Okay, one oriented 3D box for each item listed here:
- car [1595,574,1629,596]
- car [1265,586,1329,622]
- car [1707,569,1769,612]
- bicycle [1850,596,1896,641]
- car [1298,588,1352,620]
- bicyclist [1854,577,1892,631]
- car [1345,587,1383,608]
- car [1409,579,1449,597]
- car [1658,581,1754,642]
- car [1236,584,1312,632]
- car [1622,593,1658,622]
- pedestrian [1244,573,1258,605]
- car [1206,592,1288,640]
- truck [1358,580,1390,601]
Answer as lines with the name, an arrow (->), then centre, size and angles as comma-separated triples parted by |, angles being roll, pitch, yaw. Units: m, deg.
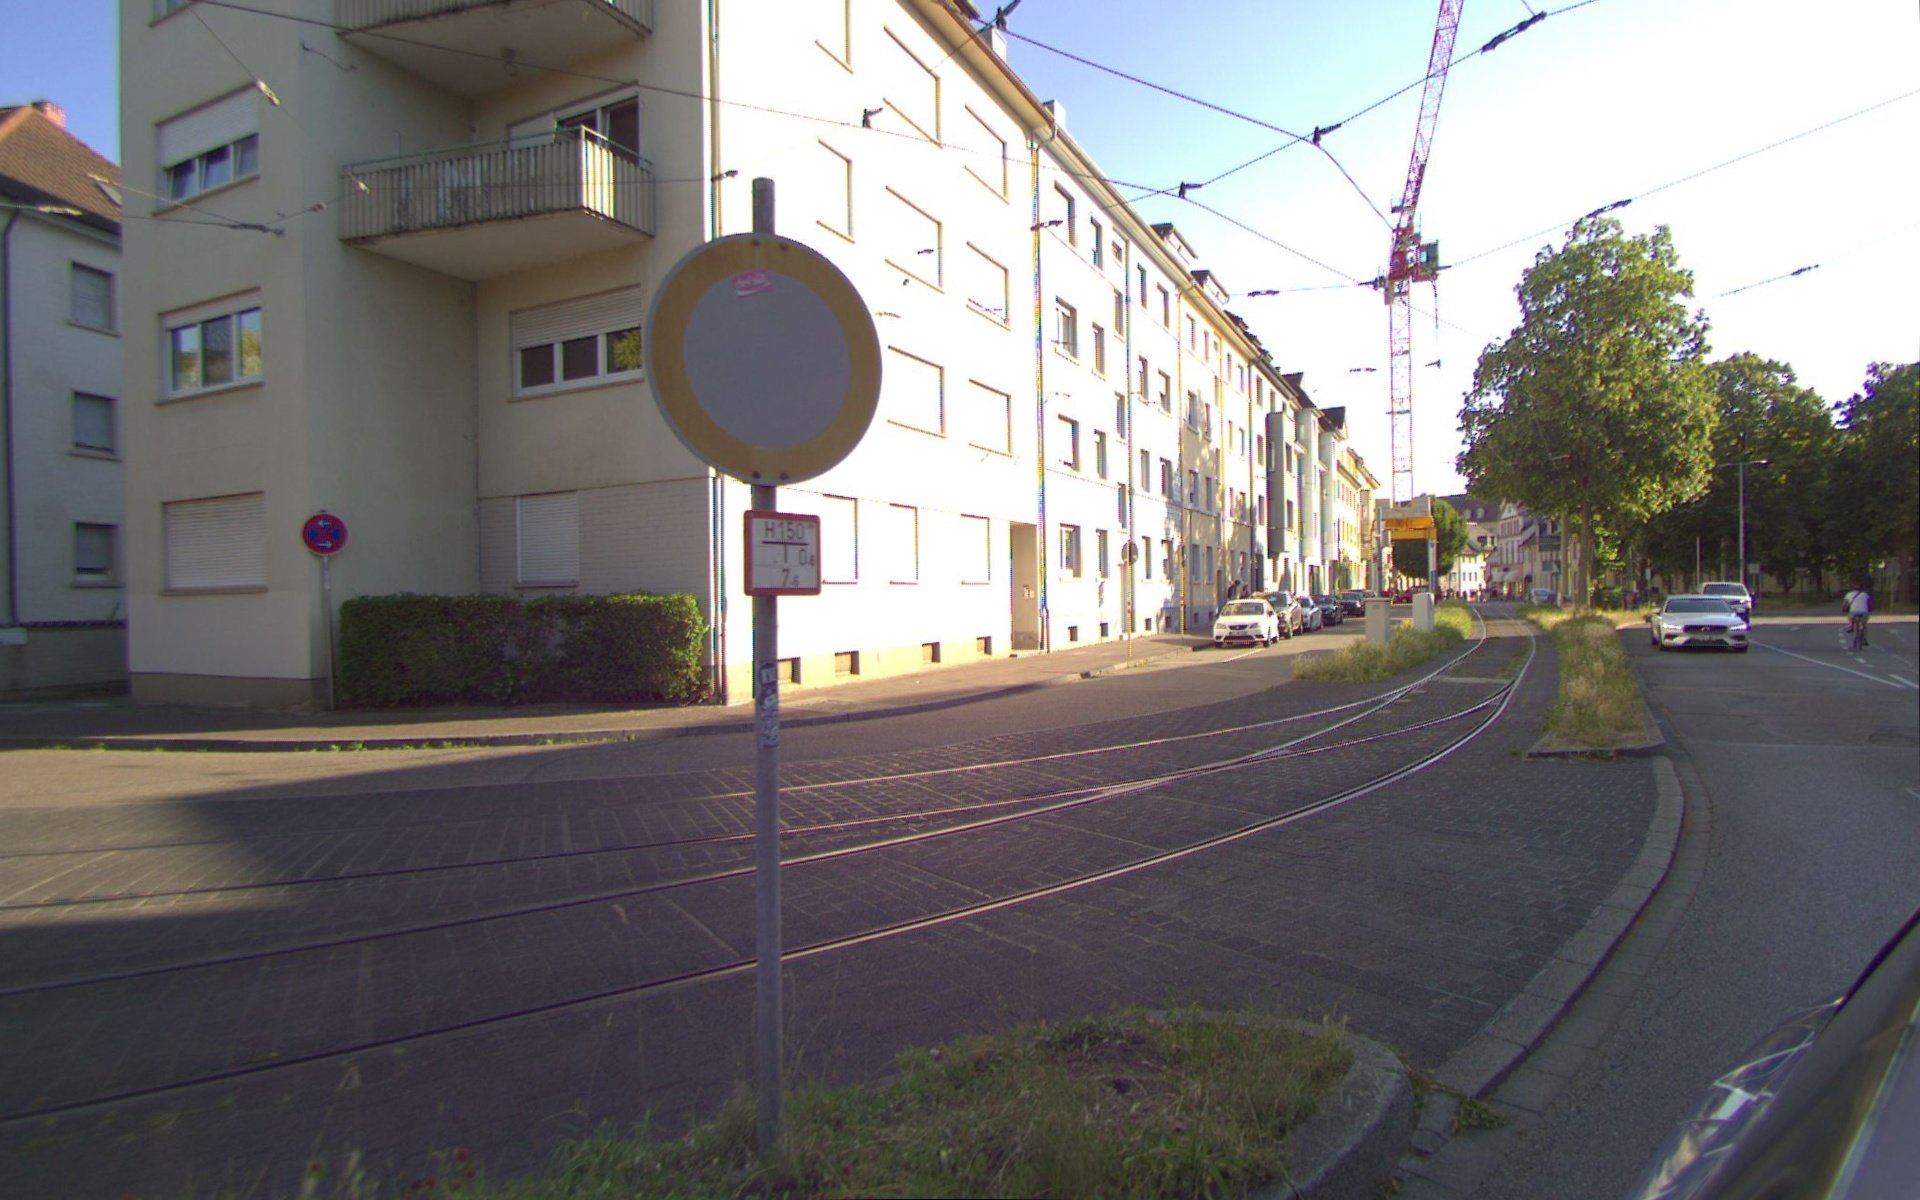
car -> 56.244, -1.300, 87.394 | 1.980, 1.816, 3.964 | -2, 0, 27
car -> 13.797, 0.152, 41.285 | 1.980, 1.404, 4.407 | 0, 0, 26
car -> 36.097, -0.428, 47.033 | 1.986, 1.878, 4.842 | 0, 0, 34
bicycle -> 23.751, 0.456, 26.353 | 0.620, 1.095, 1.762 | 0, 1, 33
car -> 17.116, 0.169, 47.375 | 1.980, 1.404, 4.407 | 0, 0, 26
bicyclist -> 23.749, 0.091, 26.345 | 0.620, 1.397, 0.791 | 0, 1, 34
car -> 27.547, -0.163, 68.981 | 1.982, 1.404, 4.167 | 0, 0, 28
car -> 52.187, -1.286, 112.631 | 4.028, 1.945, 1.983 | 0, 0, 25
car -> 19.852, 0.283, 27.093 | 1.842, 1.482, 4.714 | 0, 0, 34
car -> 11.403, 0.232, 36.524 | 1.980, 1.591, 4.601 | 0, 1, 26
car -> 41.047, 0.443, 61.093 | 1.705, 1.637, 3.950 | -1, 0, 35
pedestrian -> 13.383, -0.528, 46.605 | 0.520, 1.458, 0.457 | -1, 0, 27
car -> 9.095, 0.451, 31.849 | 1.977, 1.404, 4.412 | 0, 0, 23
truck -> 31.927, -0.701, 77.996 | 1.980, 1.605, 4.060 | 0, 0, 26
